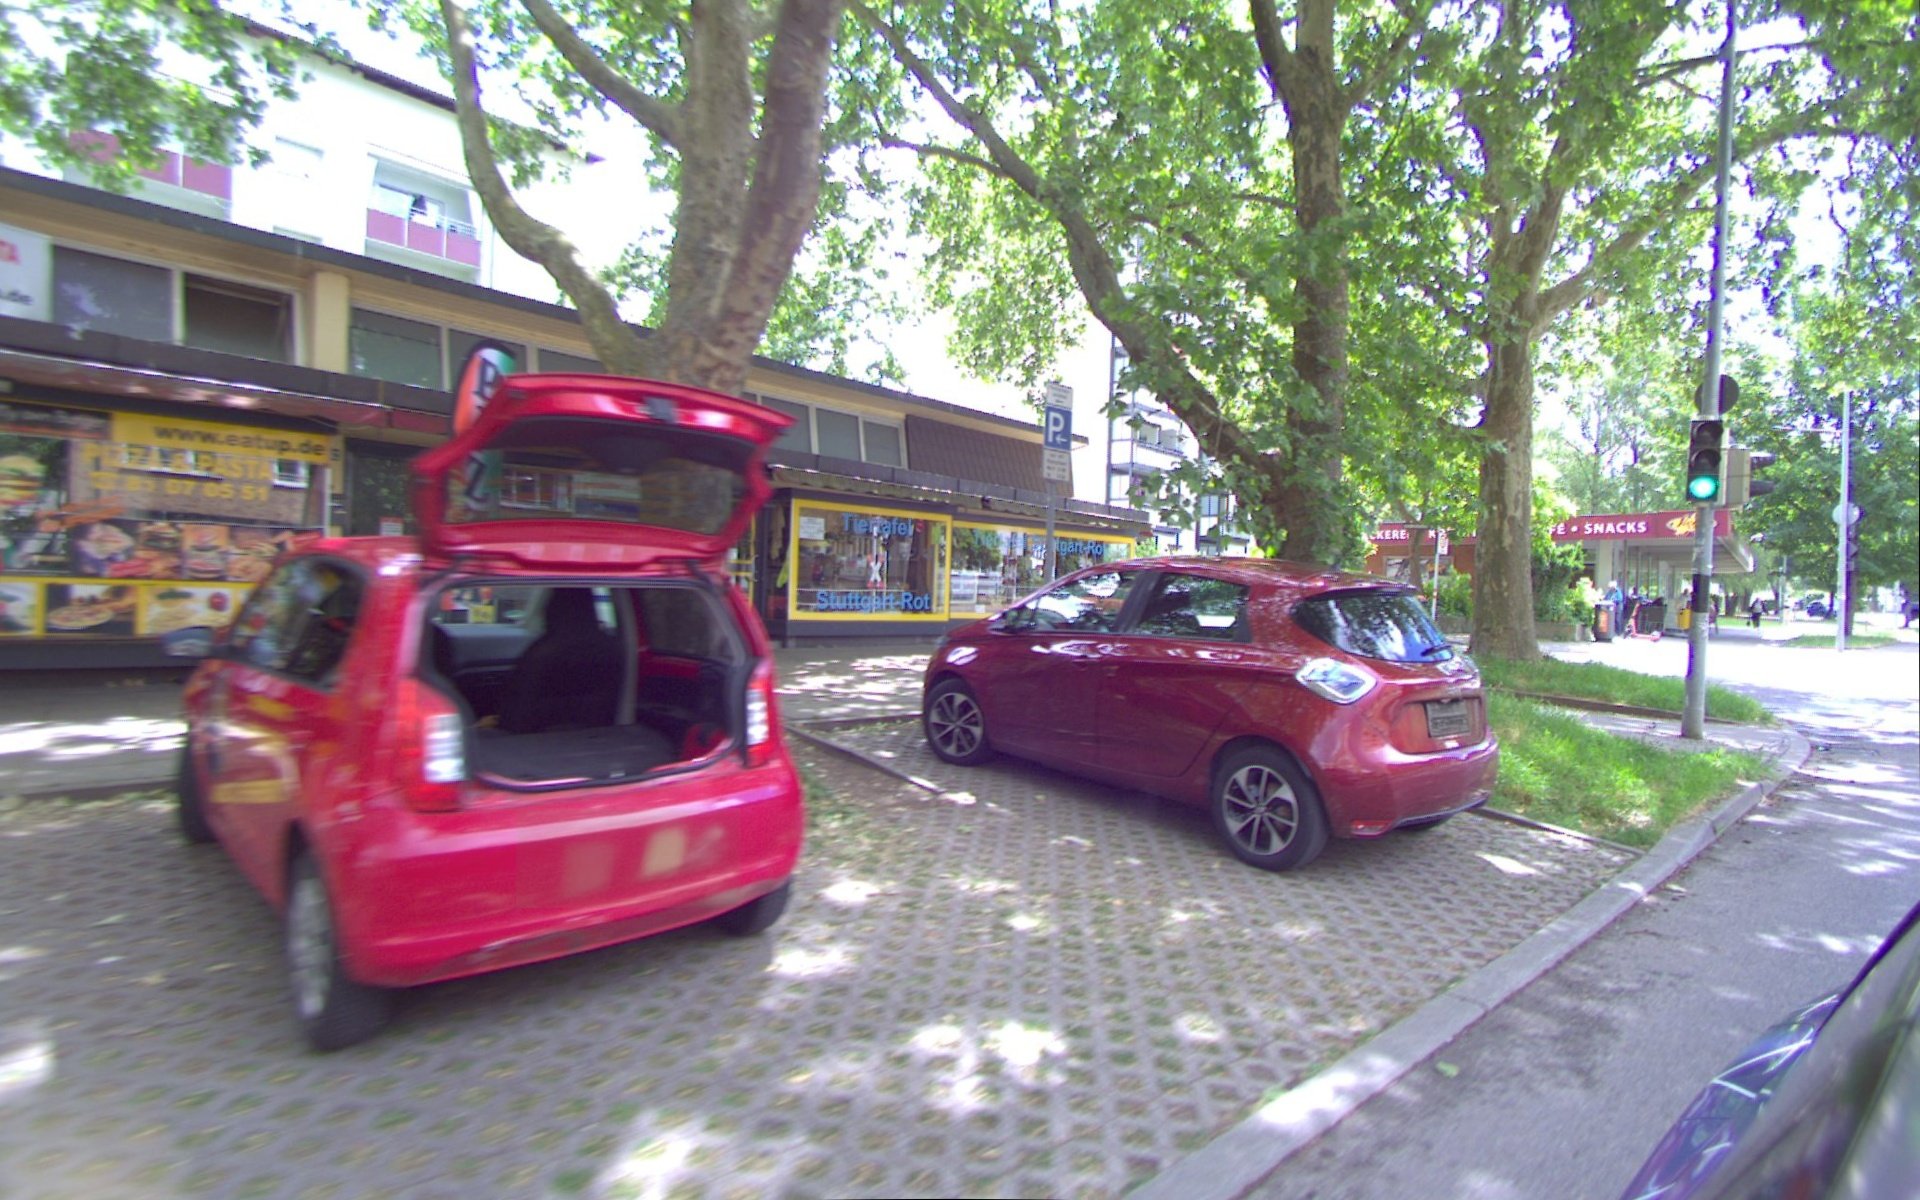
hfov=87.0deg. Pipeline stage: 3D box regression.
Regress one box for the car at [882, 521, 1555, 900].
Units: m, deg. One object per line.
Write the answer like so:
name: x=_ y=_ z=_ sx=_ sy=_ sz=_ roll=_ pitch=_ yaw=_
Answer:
car: x=1.324 y=0.378 z=6.646 sx=1.699 sy=1.630 sz=4.043 roll=0 pitch=4 yaw=-37

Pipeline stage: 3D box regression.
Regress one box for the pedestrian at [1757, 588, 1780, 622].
pedestrian: x=37.084 y=0.227 z=46.425 sx=0.643 sy=1.557 sz=0.725 roll=1 pitch=1 yaw=-44

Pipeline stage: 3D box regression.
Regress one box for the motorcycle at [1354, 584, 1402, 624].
motorcycle: x=13.477 y=0.119 z=32.658 sx=0.726 sy=1.210 sz=2.137 roll=1 pitch=1 yaw=3

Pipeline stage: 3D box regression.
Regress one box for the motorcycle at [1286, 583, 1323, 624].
motorcycle: x=10.943 y=0.100 z=32.182 sx=0.728 sy=1.210 sz=2.133 roll=2 pitch=2 yaw=9

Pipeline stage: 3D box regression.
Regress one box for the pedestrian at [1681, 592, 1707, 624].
pedestrian: x=27.863 y=0.288 z=38.416 sx=0.671 sy=1.165 sz=0.668 roll=5 pitch=3 yaw=40

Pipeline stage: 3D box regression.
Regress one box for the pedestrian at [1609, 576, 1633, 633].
pedestrian: x=19.648 y=0.125 z=30.076 sx=0.436 sy=1.652 sz=0.399 roll=1 pitch=1 yaw=8

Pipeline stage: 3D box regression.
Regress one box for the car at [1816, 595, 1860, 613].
car: x=70.414 y=0.306 z=81.241 sx=1.793 sy=1.371 sz=3.960 roll=2 pitch=2 yaw=28

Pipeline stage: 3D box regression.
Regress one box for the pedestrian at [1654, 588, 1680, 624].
pedestrian: x=26.563 y=0.216 z=38.010 sx=0.675 sy=1.282 sz=0.664 roll=5 pitch=3 yaw=42

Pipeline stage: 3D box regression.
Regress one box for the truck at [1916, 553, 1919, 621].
truck: x=57.517 y=-0.697 z=56.557 sx=2.601 sy=4.144 sz=9.536 roll=2 pitch=1 yaw=23

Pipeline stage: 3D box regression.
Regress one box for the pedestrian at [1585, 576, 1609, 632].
pedestrian: x=19.098 y=0.111 z=30.330 sx=0.436 sy=1.652 sz=0.399 roll=1 pitch=1 yaw=8

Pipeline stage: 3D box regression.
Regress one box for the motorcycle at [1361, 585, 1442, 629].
motorcycle: x=12.961 y=0.179 z=29.754 sx=0.725 sy=1.210 sz=2.141 roll=1 pitch=1 yaw=-31

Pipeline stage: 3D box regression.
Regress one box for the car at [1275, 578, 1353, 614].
car: x=14.312 y=-0.179 z=40.840 sx=1.743 sy=1.359 sz=3.436 roll=2 pitch=1 yaw=42

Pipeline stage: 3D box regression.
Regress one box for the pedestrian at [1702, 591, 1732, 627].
pedestrian: x=27.937 y=0.316 z=37.336 sx=0.661 sy=1.282 sz=0.677 roll=1 pitch=2 yaw=-37

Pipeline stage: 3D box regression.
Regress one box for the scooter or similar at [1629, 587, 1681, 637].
scooter or similar: x=18.933 y=0.324 z=27.585 sx=1.206 sy=1.324 sz=0.378 roll=1 pitch=1 yaw=-8

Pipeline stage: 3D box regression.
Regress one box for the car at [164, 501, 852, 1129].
car: x=-2.144 y=0.408 z=4.255 sx=1.583 sy=1.533 sz=3.412 roll=0 pitch=4 yaw=-44

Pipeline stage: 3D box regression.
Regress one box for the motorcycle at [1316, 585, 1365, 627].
motorcycle: x=11.692 y=0.158 z=31.193 sx=0.726 sy=1.210 sz=2.138 roll=1 pitch=2 yaw=2

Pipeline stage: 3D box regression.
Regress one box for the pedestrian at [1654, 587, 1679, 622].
pedestrian: x=27.233 y=0.151 z=38.987 sx=0.671 sy=1.282 sz=0.668 roll=5 pitch=3 yaw=40
